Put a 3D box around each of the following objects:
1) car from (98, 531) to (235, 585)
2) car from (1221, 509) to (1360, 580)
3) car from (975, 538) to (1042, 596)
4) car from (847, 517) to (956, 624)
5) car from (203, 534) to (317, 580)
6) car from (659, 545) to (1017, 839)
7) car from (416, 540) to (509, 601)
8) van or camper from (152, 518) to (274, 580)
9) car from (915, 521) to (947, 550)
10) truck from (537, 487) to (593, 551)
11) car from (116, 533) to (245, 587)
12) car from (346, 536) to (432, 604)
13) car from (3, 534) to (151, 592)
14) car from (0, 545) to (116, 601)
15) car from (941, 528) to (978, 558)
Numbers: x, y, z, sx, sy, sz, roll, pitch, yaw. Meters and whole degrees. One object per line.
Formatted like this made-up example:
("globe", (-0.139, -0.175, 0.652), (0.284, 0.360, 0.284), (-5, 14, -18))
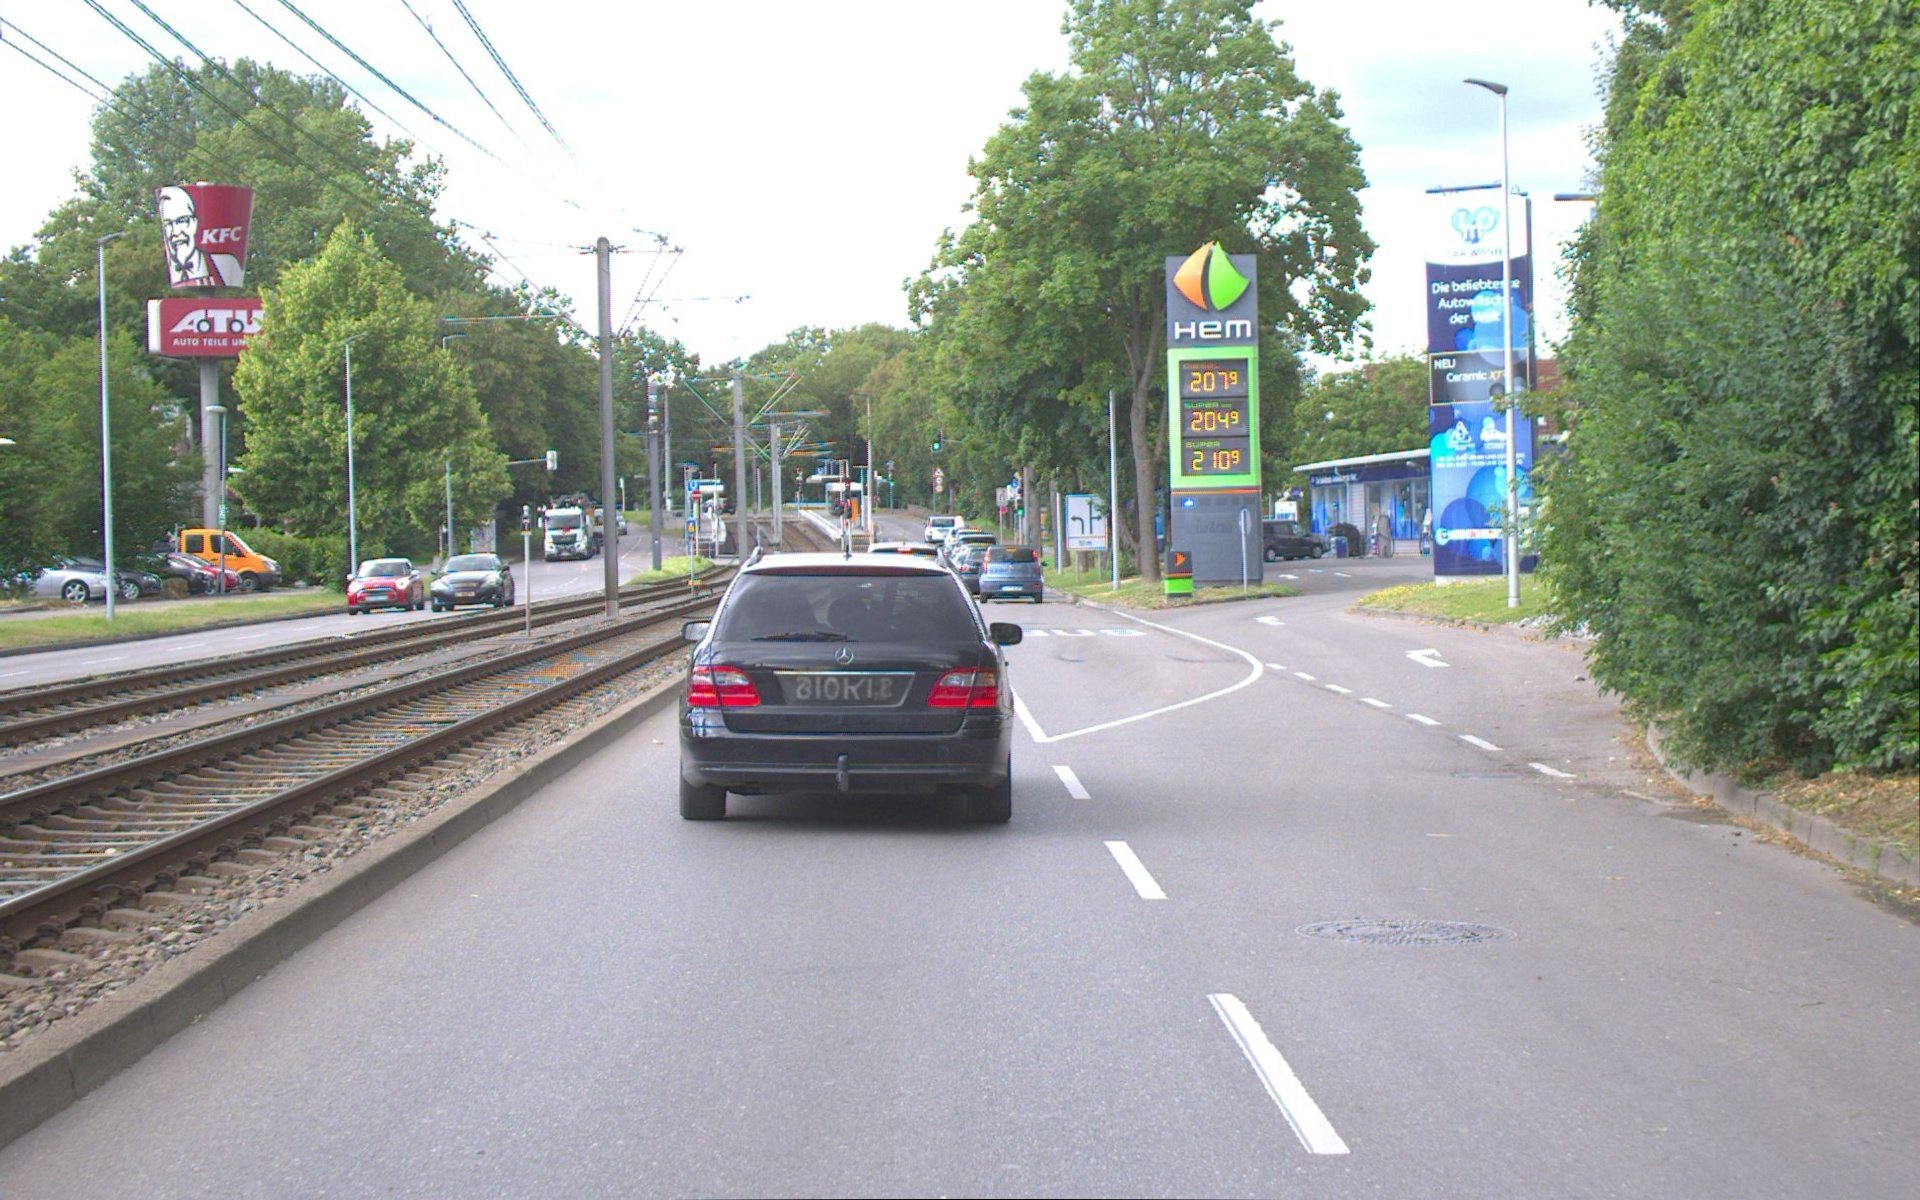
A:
("car", (-25.408, -1.361, 110.176), (3.986, 1.594, 1.878), (-2, 1, -5))
("car", (8.129, -1.349, 84.471), (3.102, 1.593, 1.423), (-2, 0, 19))
("car", (1.218, -0.842, 87.369), (1.571, 1.410, 3.354), (1, 1, -1))
("car", (-0.997, -0.506, 58.563), (1.780, 1.744, 3.718), (1, 1, -1))
("car", (-26.215, -1.612, 128.840), (3.986, 1.594, 1.797), (-2, 1, -5))
("car", (-0.644, 0.436, 19.343), (1.808, 1.469, 3.881), (0, 1, -1))
("car", (-12.575, -0.759, 87.126), (1.759, 1.396, 4.444), (-4, 1, -2))
("van or camper", (-26.086, -1.795, 120.166), (3.986, 2.127, 1.878), (0, 1, -5))
("car", (-1.823, -4.070, 217.000), (1.993, 1.831, 4.000), (0, 1, -1))
("truck", (-23.544, -4.797, 205.329), (2.706, 3.651, 11.114), (-2, 1, -4))
("car", (-26.122, -1.349, 115.322), (3.986, 1.791, 1.878), (0, 1, -5))
("car", (-15.403, -0.832, 92.955), (1.792, 1.766, 4.001), (-1, 1, -3))
("car", (-26.345, -1.121, 102.621), (3.986, 1.594, 1.878), (-2, 1, -5))
("car", (-25.534, -0.729, 94.382), (4.306, 1.467, 1.681), (-1, 1, -3))
("car", (-0.045, -3.287, 197.708), (1.993, 1.708, 4.000), (-1, 1, -1))
